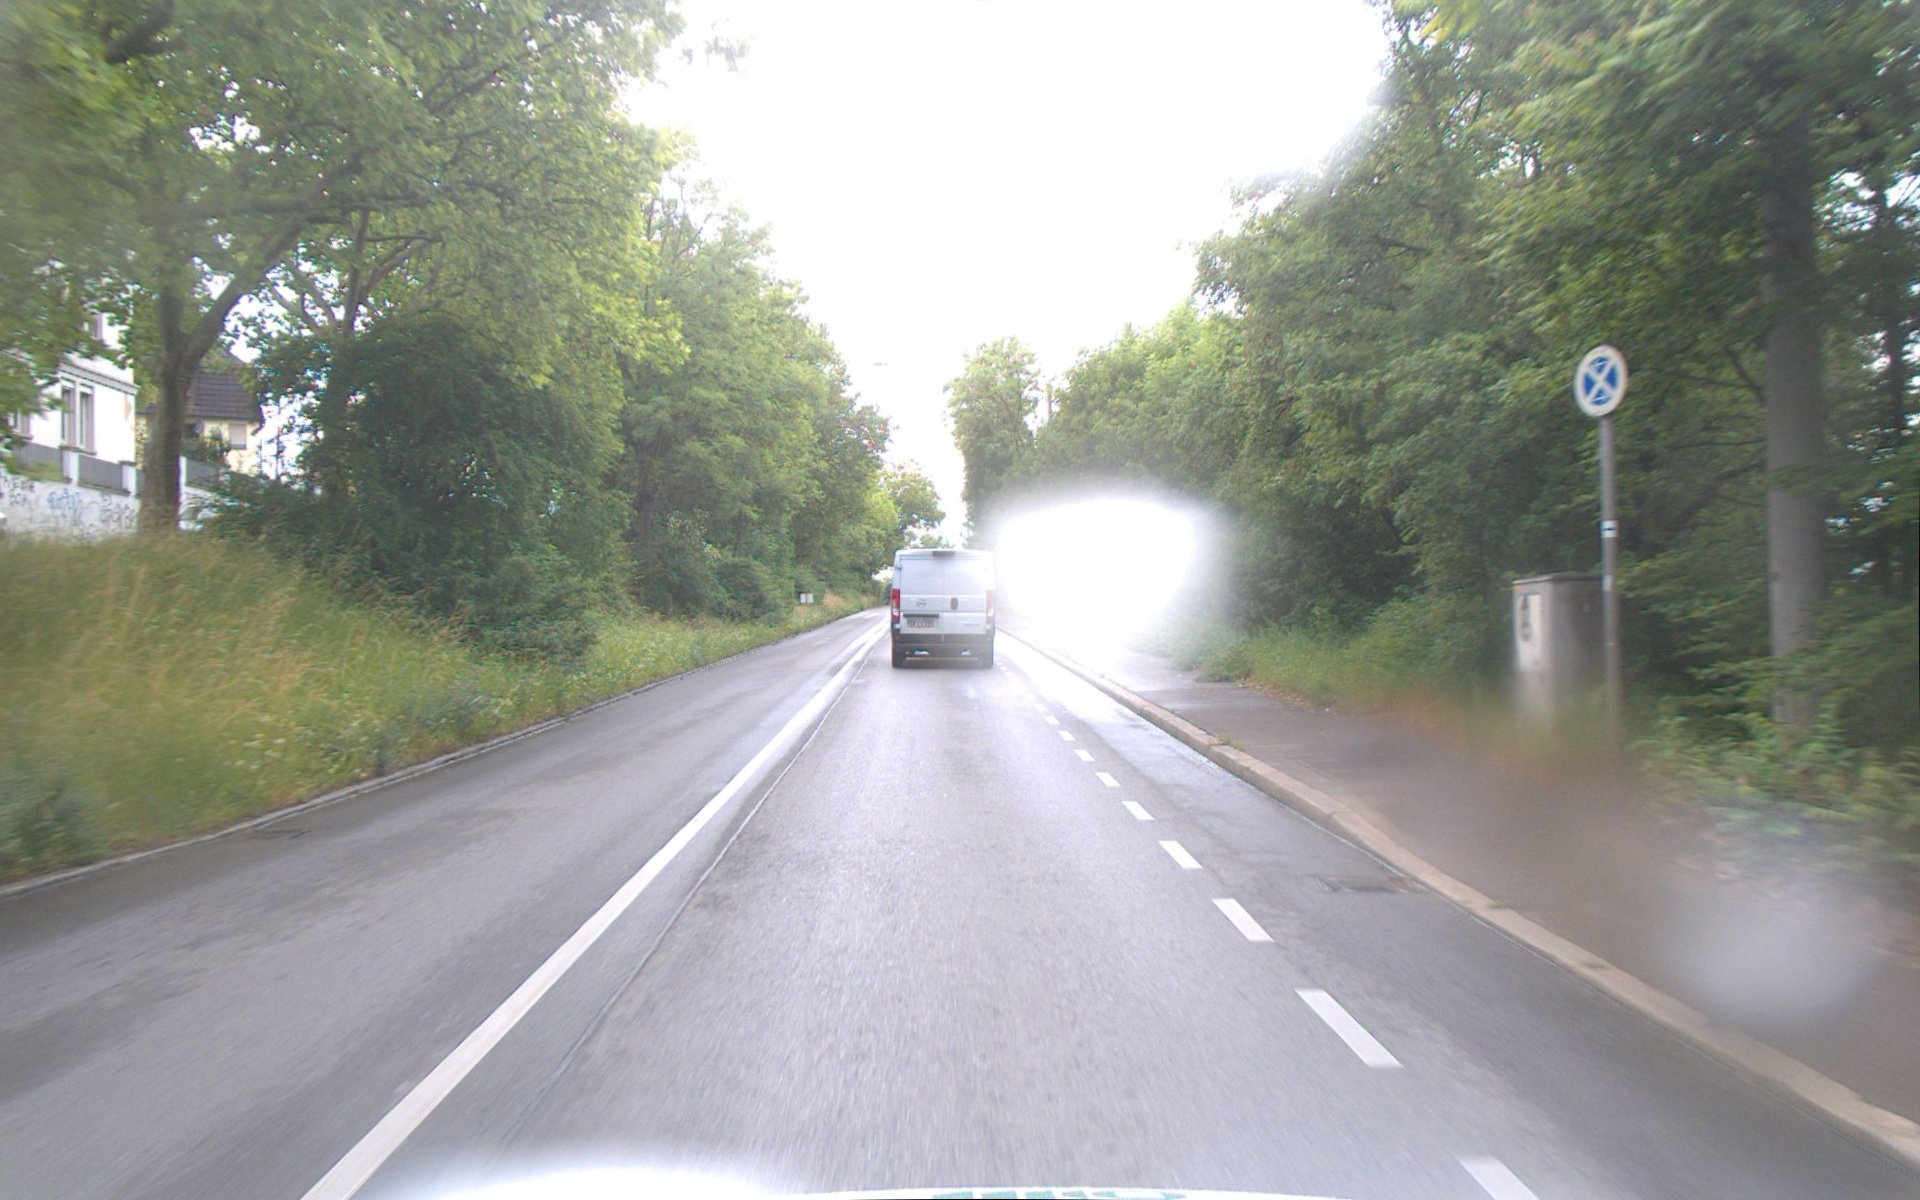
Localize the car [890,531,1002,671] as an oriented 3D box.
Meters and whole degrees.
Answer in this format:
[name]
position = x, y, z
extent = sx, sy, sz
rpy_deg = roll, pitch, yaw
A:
[car]
position = -0.304, -0.016, 33.511
extent = 2.008, 2.560, 4.943
rpy_deg = 2, 1, -1
